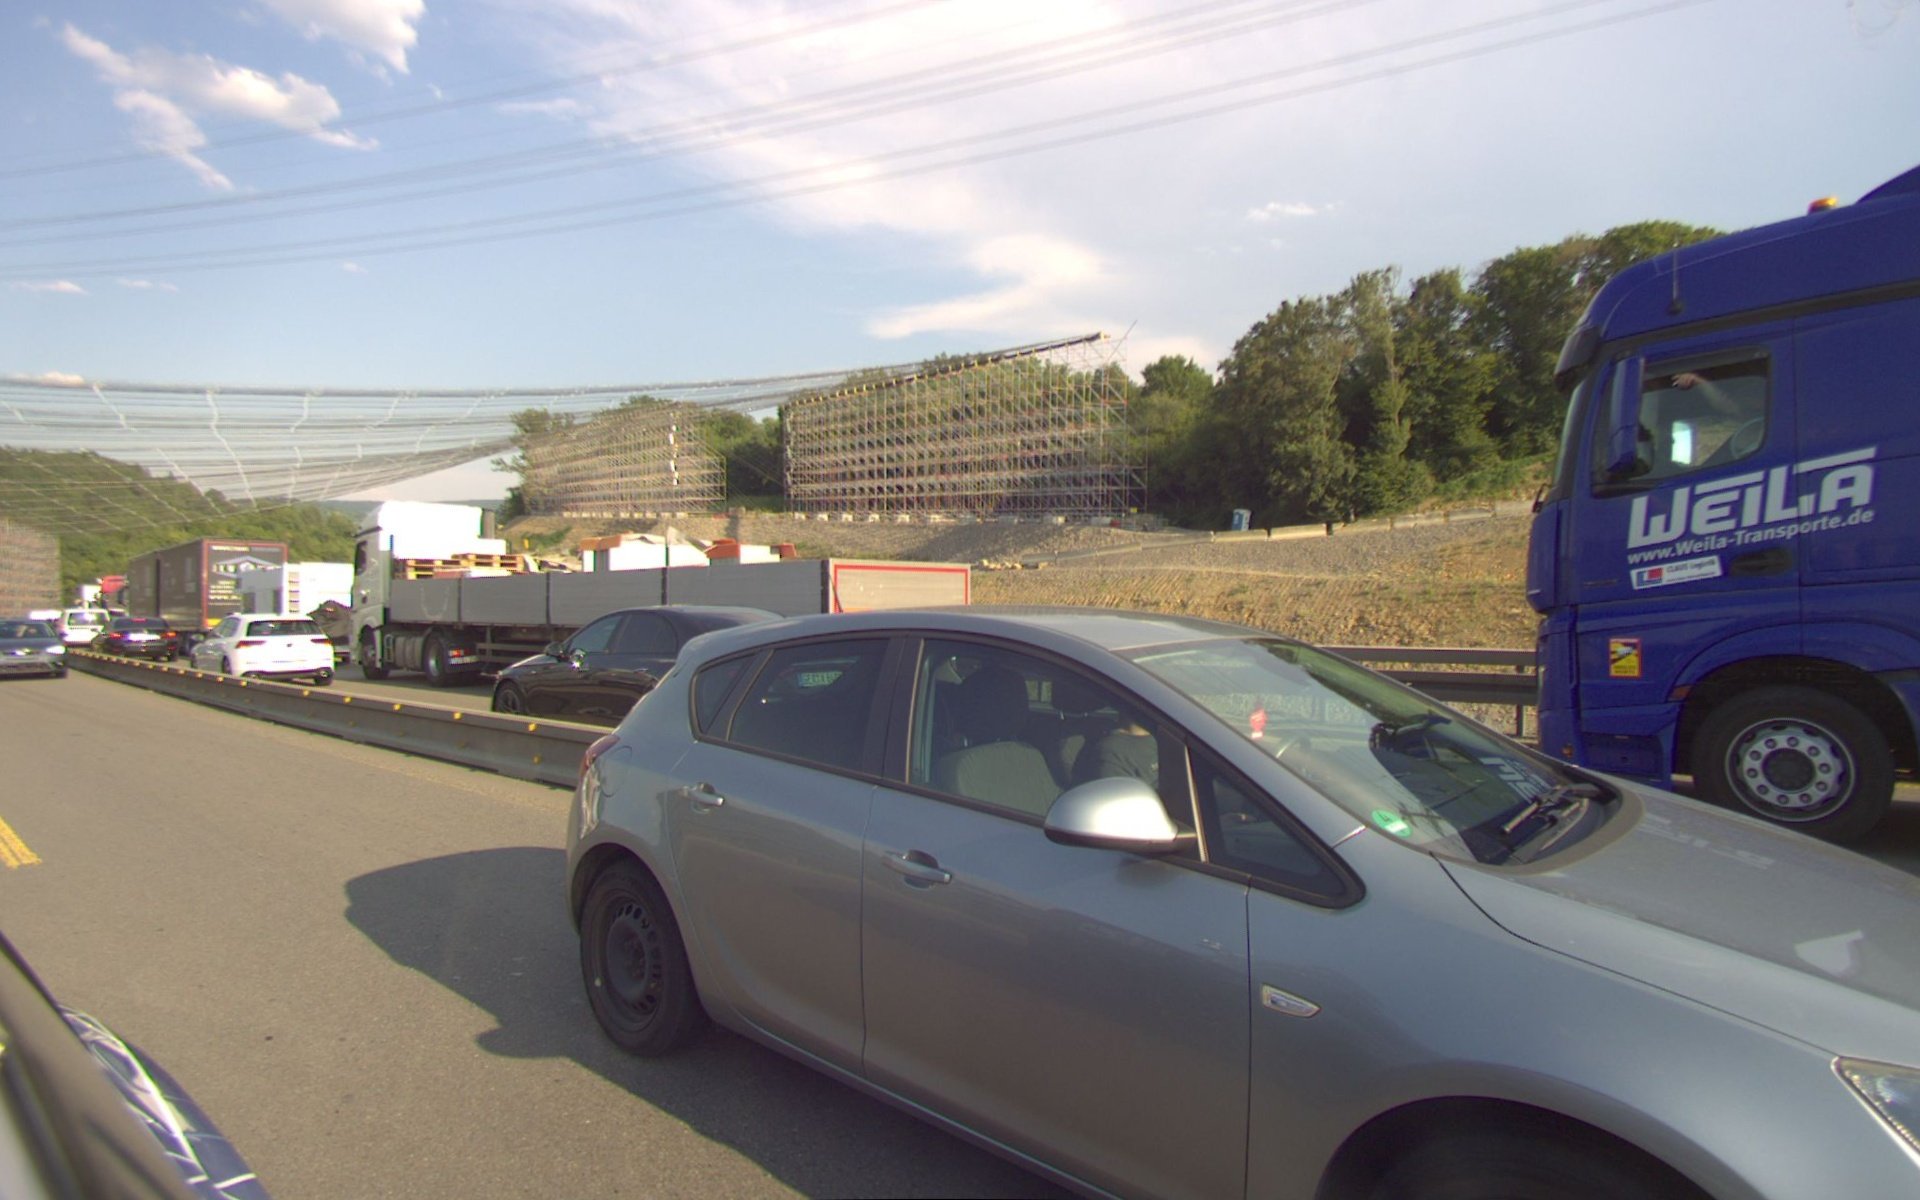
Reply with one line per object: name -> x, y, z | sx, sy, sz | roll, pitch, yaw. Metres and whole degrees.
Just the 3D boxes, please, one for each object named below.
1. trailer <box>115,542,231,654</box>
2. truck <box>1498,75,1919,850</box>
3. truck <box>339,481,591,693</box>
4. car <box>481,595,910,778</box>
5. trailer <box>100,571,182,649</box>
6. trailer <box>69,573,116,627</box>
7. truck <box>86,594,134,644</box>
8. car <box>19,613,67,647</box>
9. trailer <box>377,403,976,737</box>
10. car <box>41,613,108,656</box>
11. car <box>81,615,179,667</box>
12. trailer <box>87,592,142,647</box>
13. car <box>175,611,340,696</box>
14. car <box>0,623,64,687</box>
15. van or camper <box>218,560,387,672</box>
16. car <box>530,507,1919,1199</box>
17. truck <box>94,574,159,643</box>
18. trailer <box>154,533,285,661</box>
trailer -> -34.144, -0.018, 43.700 | 10.513, 4.361, 2.448 | -1, -1, 44
truck -> 6.505, -0.736, 5.708 | 5.665, 4.096, 2.476 | -1, -1, 43
truck -> -10.537, -0.196, 21.225 | 6.516, 3.782, 2.573 | -1, -1, 43
car -> -2.798, 0.688, 9.934 | 4.766, 1.388, 1.740 | -1, -1, 42
trailer -> -44.374, 0.567, 54.635 | 2.280, 3.819, 12.060 | 0, -1, -45
trailer -> -69.634, 0.070, 81.117 | 2.398, 3.993, 14.115 | 0, -1, -42
truck -> -60.313, 1.338, 71.788 | 2.385, 3.395, 5.624 | 0, -1, -42
car -> -54.843, 1.755, 60.497 | 4.837, 1.940, 1.796 | -1, -1, 44
trailer -> -5.838, -0.264, 16.939 | 13.972, 3.753, 2.493 | -1, -1, 42
car -> -37.176, 1.406, 42.462 | 4.454, 1.708, 1.737 | -1, -1, 44
car -> -26.285, 1.242, 31.991 | 4.585, 1.523, 1.774 | -1, -1, 42
trailer -> -56.538, 1.289, 67.551 | 2.279, 3.387, 12.066 | 0, -1, -42
car -> -14.168, 1.000, 20.330 | 4.252, 1.519, 1.741 | -1, -1, 41
car -> -22.501, 1.252, 23.947 | 1.740, 1.394, 3.825 | 0, -1, -45
van or camper -> -19.541, 0.460, 29.856 | 7.617, 2.913, 2.382 | -1, -1, 43
car -> 0.674, 0.649, 2.782 | 4.351, 1.484, 1.737 | -1, -1, 42
truck -> -48.453, 0.486, 58.773 | 2.404, 3.813, 5.621 | 0, -1, -45
trailer -> -27.279, -0.050, 37.107 | 8.545, 4.220, 2.416 | -1, -1, 44
